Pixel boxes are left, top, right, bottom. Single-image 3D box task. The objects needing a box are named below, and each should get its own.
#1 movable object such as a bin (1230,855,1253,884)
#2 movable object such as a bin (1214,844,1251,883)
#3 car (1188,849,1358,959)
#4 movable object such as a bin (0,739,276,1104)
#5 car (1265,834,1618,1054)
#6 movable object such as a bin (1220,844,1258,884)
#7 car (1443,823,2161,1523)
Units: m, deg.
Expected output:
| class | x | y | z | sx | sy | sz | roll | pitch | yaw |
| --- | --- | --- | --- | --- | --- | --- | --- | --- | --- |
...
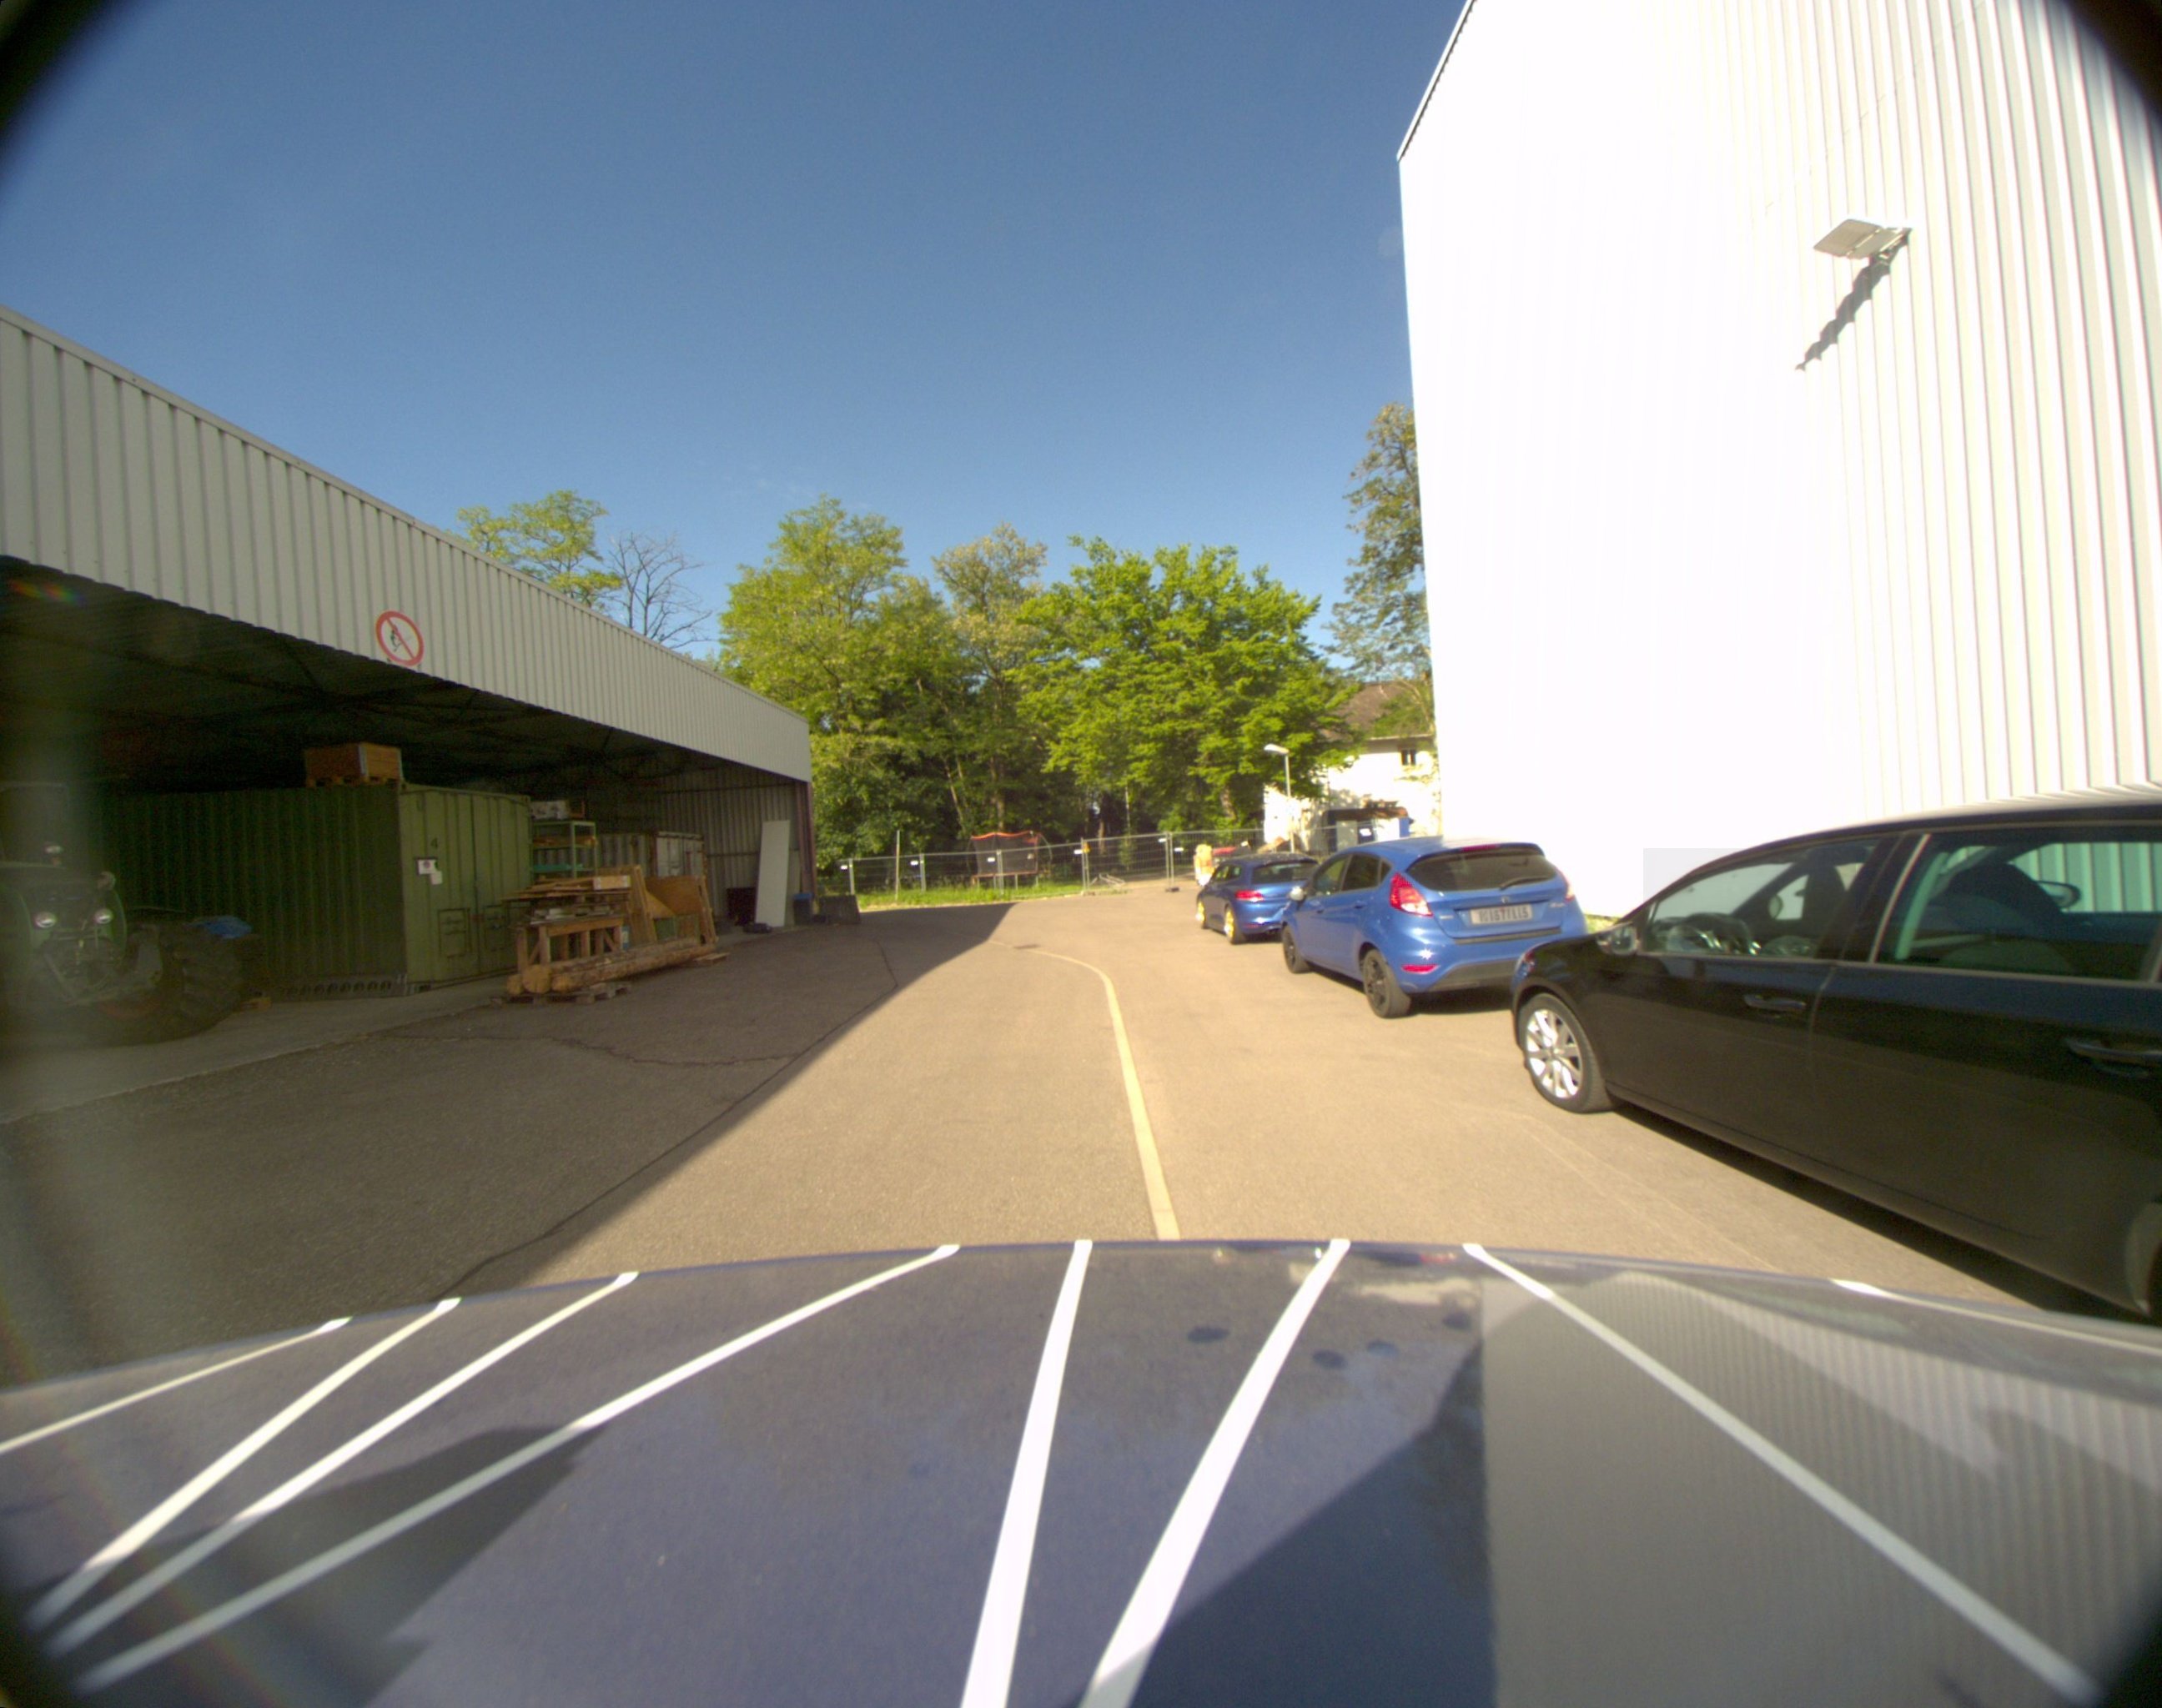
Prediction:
| class | x | y | z | sx | sy | sz | roll | pitch | yaw |
| --- | --- | --- | --- | --- | --- | --- | --- | --- | --- |
| movable object such as a bin | 5.791 | 0.571 | 27.439 | 0.688 | 1.017 | 0.707 | -2 | -1 | 6 |
| movable object such as a bin | 5.959 | 0.361 | 29.983 | 1.141 | 1.469 | 1.280 | -2 | -1 | 1 |
| car | 3.044 | 0.741 | 12.873 | 1.716 | 1.440 | 3.798 | -5 | 0 | -2 |
| movable object such as a bin | -11.517 | 0.676 | 6.629 | 5.848 | 2.908 | 2.820 | -3 | 0 | 1 |
| car | 3.089 | 0.682 | 7.362 | 1.552 | 1.479 | 3.522 | -5 | 0 | -2 |
| movable object such as a bin | 5.941 | 0.357 | 28.620 | 1.141 | 1.426 | 1.289 | -2 | 0 | 1 |
| car | 3.223 | 0.692 | 2.654 | 1.761 | 1.437 | 4.315 | -6 | 0 | 0 |
